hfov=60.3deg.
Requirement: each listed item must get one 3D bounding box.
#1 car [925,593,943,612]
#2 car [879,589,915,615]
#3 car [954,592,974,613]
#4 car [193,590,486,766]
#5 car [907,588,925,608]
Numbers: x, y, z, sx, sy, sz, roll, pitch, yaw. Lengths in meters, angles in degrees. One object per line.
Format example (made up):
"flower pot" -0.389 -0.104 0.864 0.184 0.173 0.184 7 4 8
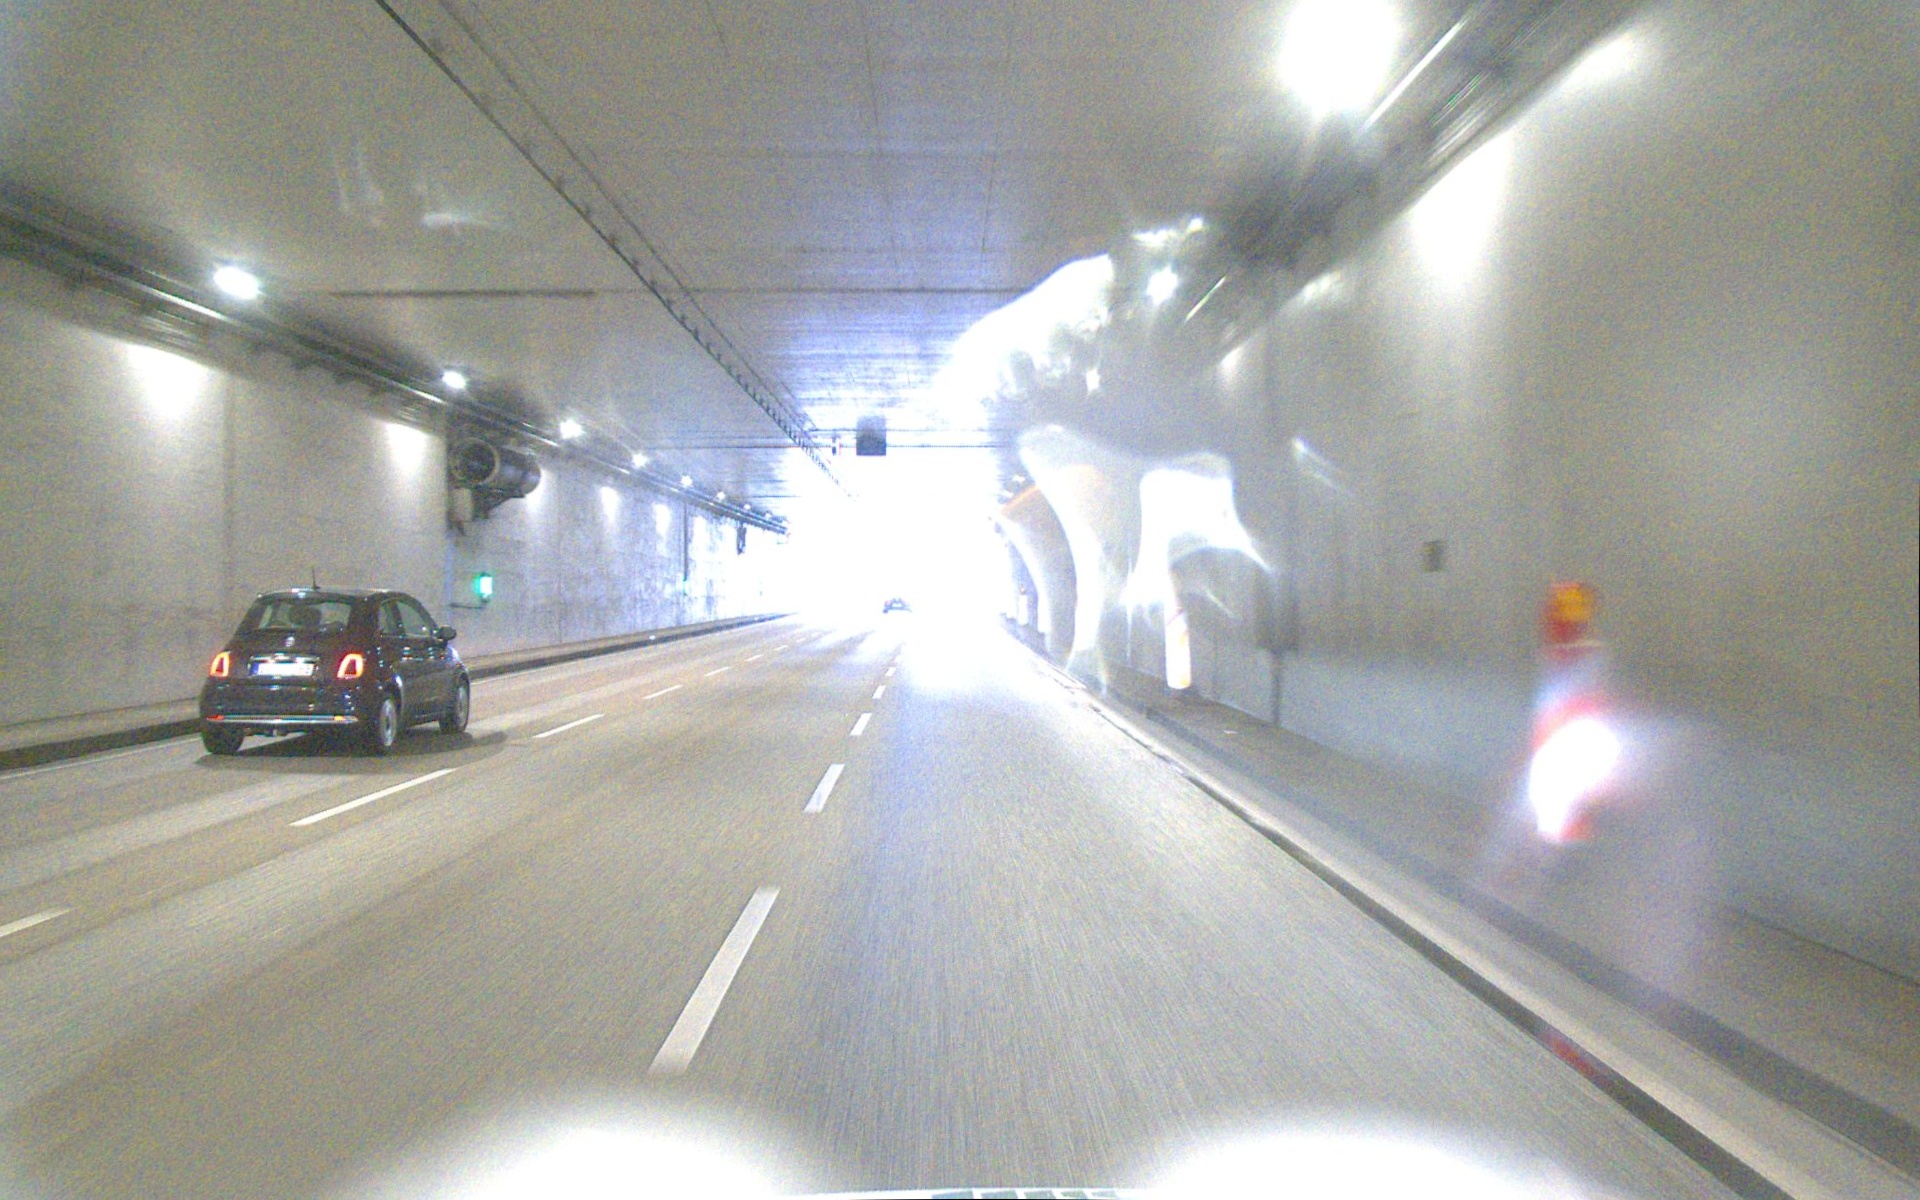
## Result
"car" -2.918 0.271 182.260 1.953 2.049 3.998 0 -1 -1
"car" -3.675 0.123 96.401 1.954 1.473 4.311 1 0 -4
"car" 0.413 0.249 167.051 1.953 2.049 3.999 1 -1 -1
"car" -5.792 0.653 15.865 1.580 1.480 3.571 0 0 -3
"car" -4.669 -0.179 175.254 1.953 2.049 3.998 0 -1 -1
